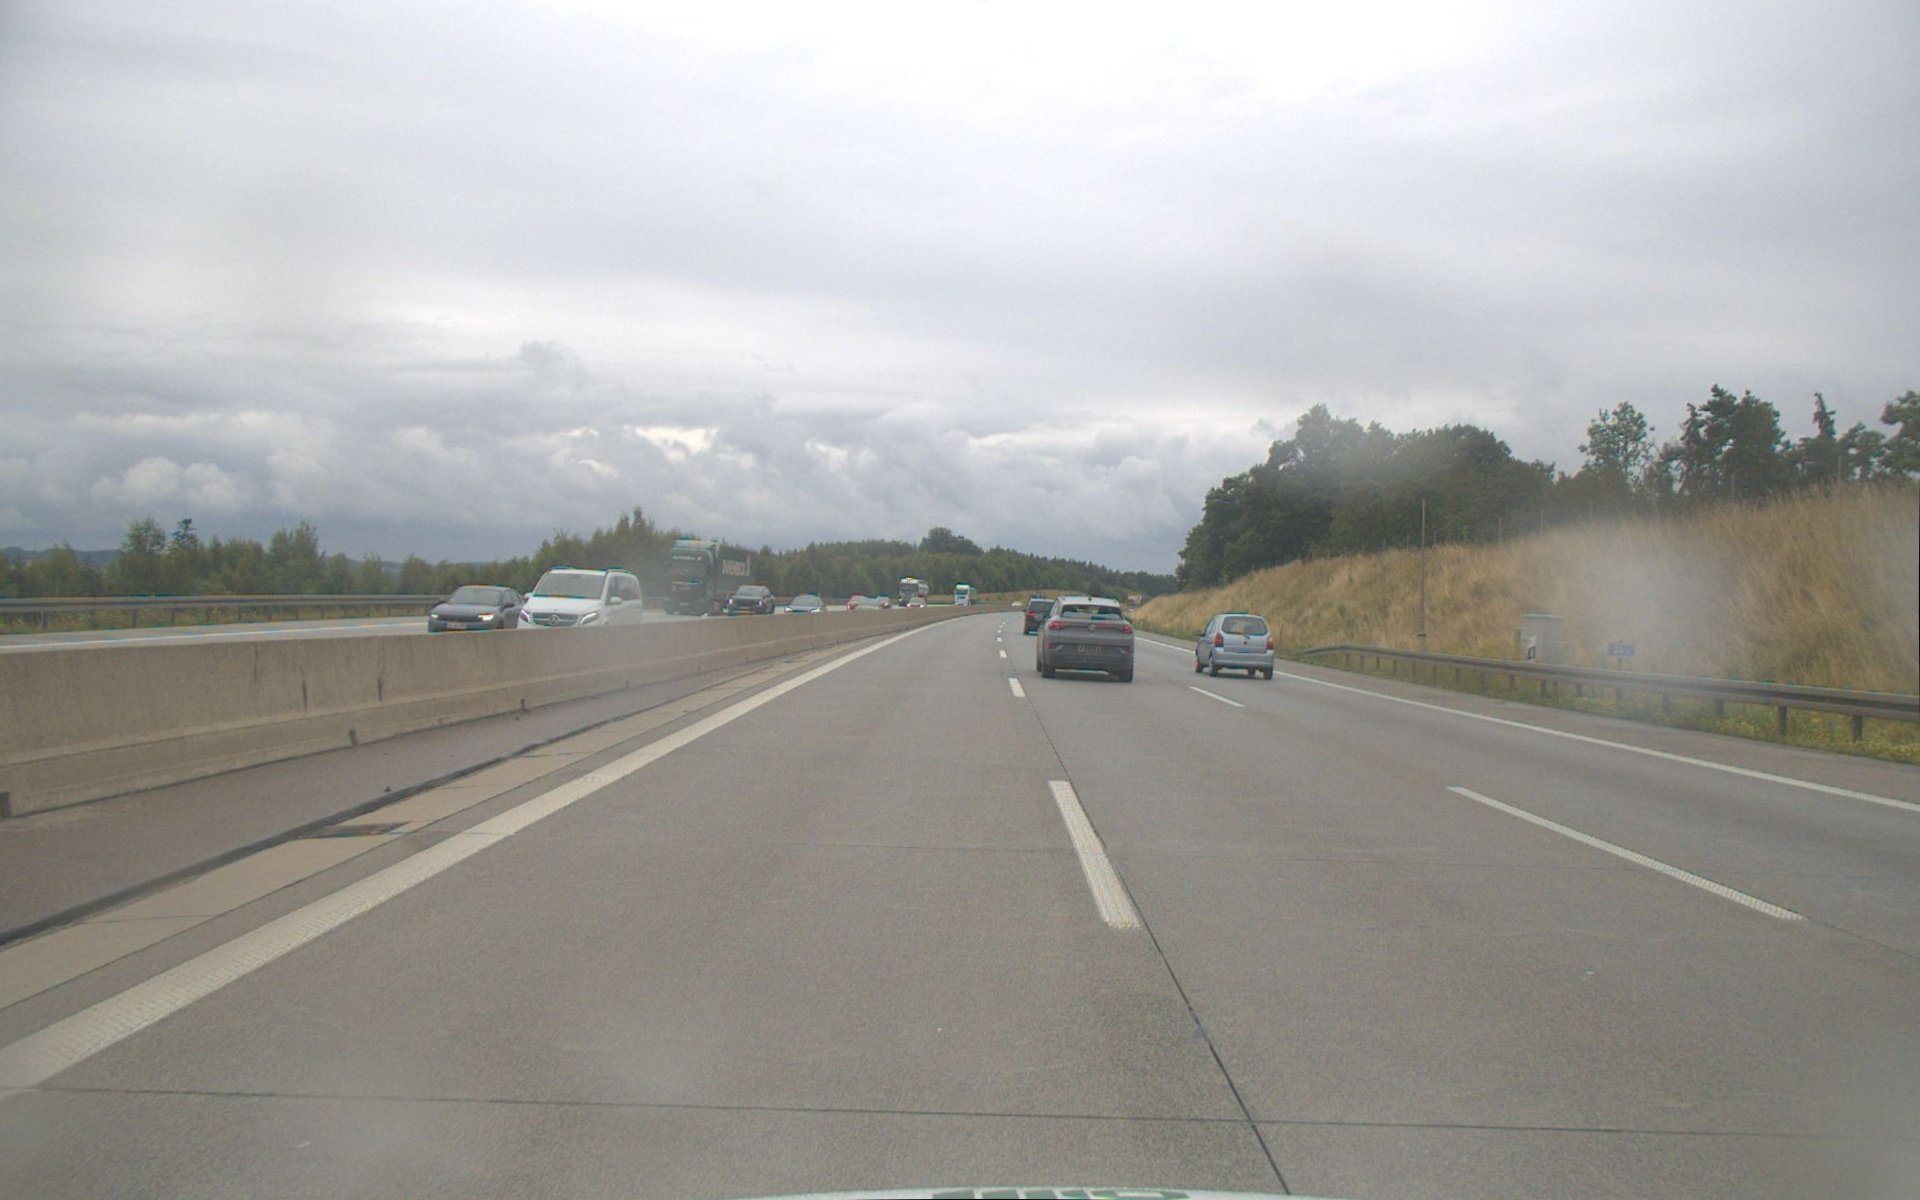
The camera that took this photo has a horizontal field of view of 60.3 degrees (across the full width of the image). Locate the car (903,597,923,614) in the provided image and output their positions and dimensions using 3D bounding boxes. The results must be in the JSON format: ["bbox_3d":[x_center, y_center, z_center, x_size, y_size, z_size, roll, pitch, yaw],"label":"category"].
[{"bbox_3d":[-4.699,0.540,165.195,1.686,1.615,4.973,2,1,1],"label":"car"}]

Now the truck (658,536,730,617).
[{"bbox_3d":[-15.171,-1.356,94.728,2.732,4.336,6.051,4,1,1],"label":"truck"}]

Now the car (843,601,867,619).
[{"bbox_3d":[-9.319,0.920,147.382,1.682,1.534,4.487,2,-1,1],"label":"car"}]

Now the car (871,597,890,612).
[{"bbox_3d":[-8.078,0.458,168.722,1.487,1.417,4.487,3,0,1],"label":"car"}]

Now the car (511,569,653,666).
[{"bbox_3d":[-8.592,0.322,38.179,1.875,2.048,5.925,0,1,0],"label":"car"}]

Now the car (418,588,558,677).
[{"bbox_3d":[-12.057,0.763,42.692,1.875,2.048,5.925,0,1,0],"label":"car"}]

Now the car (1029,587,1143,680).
[{"bbox_3d":[2.507,0.615,34.152,1.859,1.719,5.265,0,1,-1],"label":"car"}]

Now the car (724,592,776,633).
[{"bbox_3d":[-11.090,0.625,87.687,1.952,2.008,5.332,0,1,1],"label":"car"}]

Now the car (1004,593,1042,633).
[{"bbox_3d":[2.982,0.602,78.604,1.748,1.777,3.916,0,1,2],"label":"car"}]

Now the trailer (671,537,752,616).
[{"bbox_3d":[-15.036,-1.474,100.919,2.708,4.355,12.170,3,1,1],"label":"trailer"}]

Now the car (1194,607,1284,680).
[{"bbox_3d":[6.523,0.980,38.953,1.455,1.496,3.505,3,1,0],"label":"car"}]

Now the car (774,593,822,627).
[{"bbox_3d":[-7.898,0.475,80.967,1.953,1.545,4.397,0,1,0],"label":"car"}]
